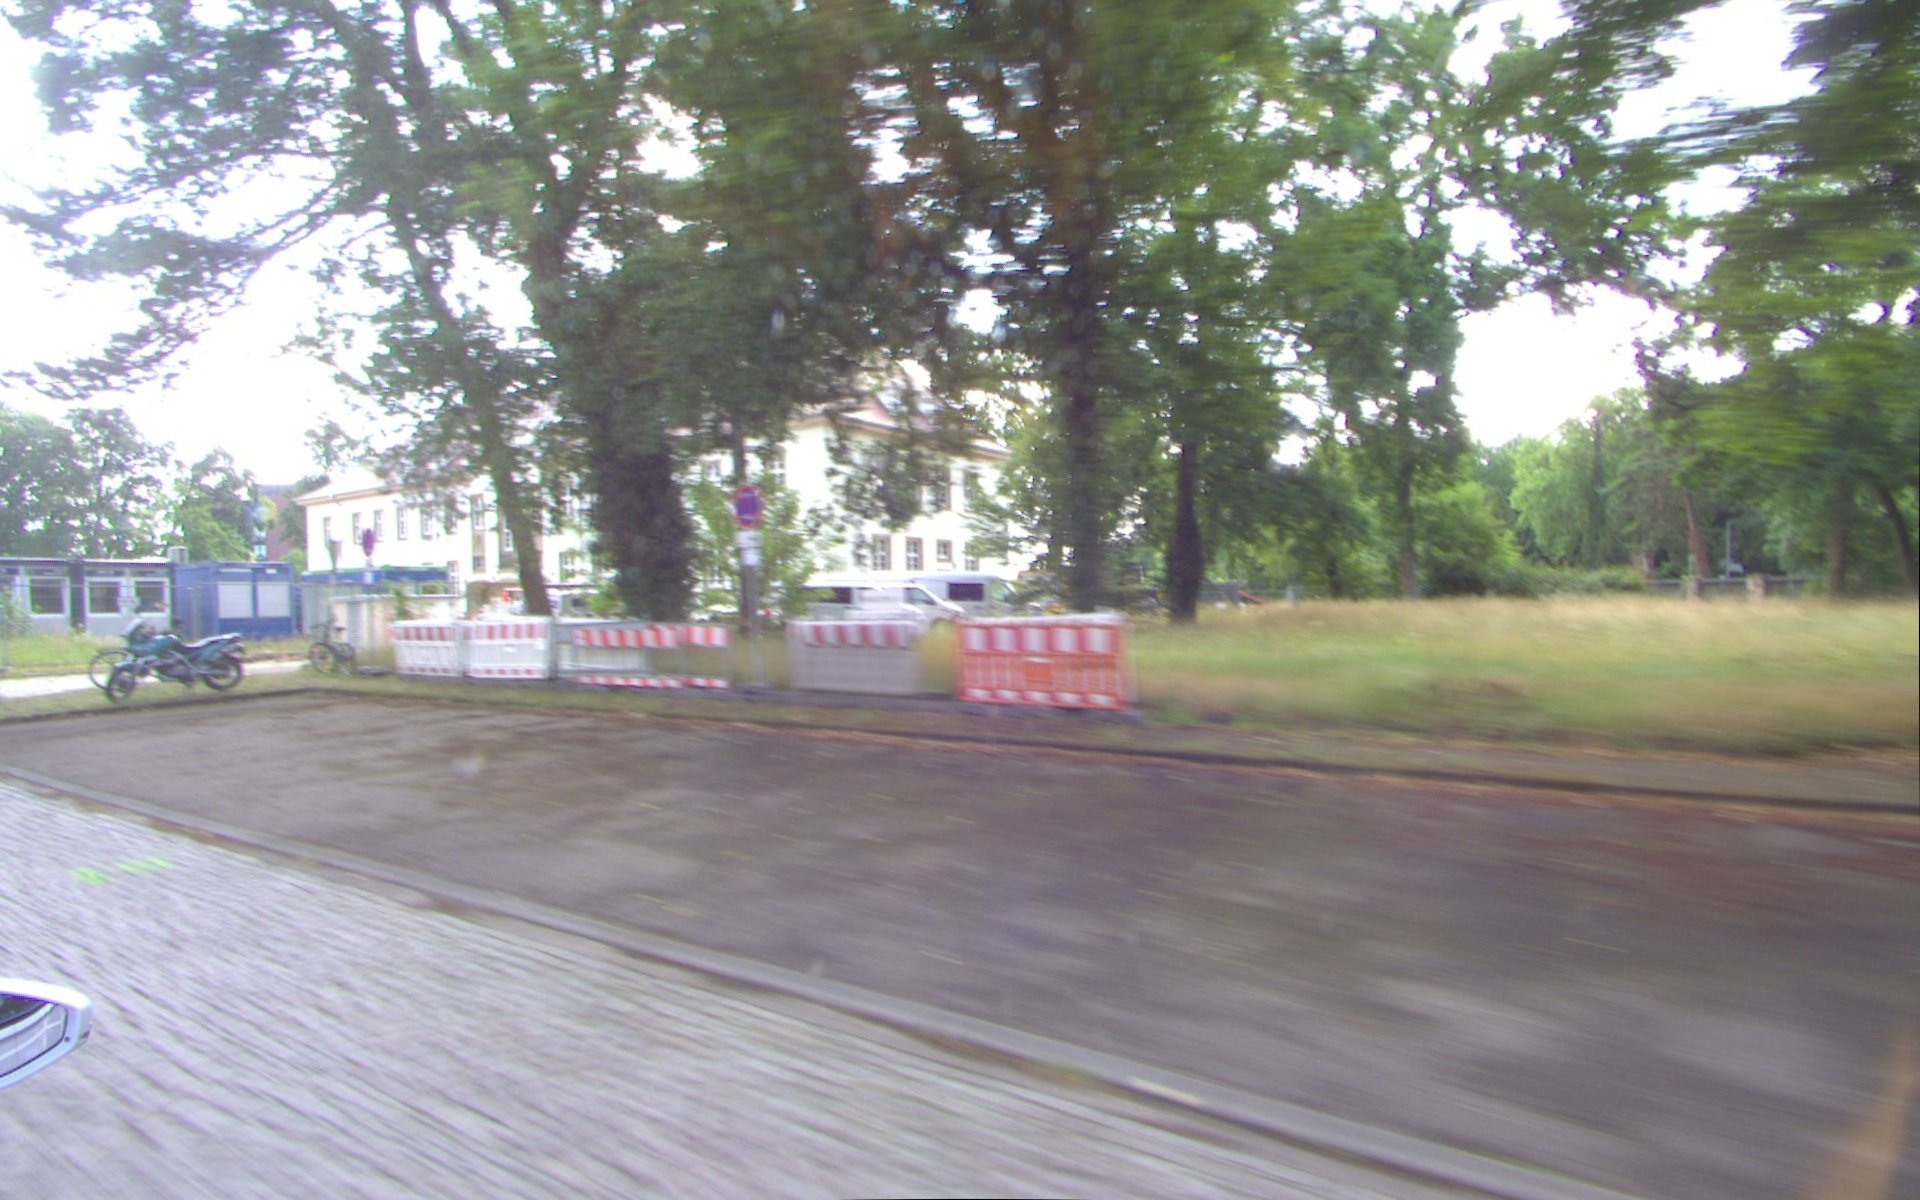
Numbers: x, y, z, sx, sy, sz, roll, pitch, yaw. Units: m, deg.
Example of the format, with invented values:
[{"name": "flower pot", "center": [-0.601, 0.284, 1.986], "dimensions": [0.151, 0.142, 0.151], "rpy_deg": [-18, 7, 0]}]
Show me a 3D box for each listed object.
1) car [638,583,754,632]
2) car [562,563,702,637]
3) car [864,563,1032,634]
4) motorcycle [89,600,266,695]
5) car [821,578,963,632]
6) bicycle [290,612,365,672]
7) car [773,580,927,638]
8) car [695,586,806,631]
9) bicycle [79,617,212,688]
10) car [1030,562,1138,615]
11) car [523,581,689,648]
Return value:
[{"name": "car", "center": [-10.784, 0.347, 40.759], "dimensions": [4.811, 1.848, 1.987], "rpy_deg": [-1, -1, 36]}, {"name": "car", "center": [-12.459, 0.074, 37.839], "dimensions": [5.831, 2.589, 1.988], "rpy_deg": [-1, -1, 36]}, {"name": "car", "center": [-0.389, -0.034, 38.475], "dimensions": [6.297, 2.611, 2.000], "rpy_deg": [0, -1, 4]}, {"name": "motorcycle", "center": [-13.463, 0.772, 17.314], "dimensions": [0.745, 1.505, 2.274], "rpy_deg": [0, 1, 28]}, {"name": "car", "center": [-2.366, 0.221, 35.802], "dimensions": [4.780, 1.848, 2.000], "rpy_deg": [0, -1, 7]}, {"name": "bicycle", "center": [-13.178, 0.861, 20.846], "dimensions": [1.879, 1.185, 0.640], "rpy_deg": [0, 1, 36]}, {"name": "car", "center": [-3.611, 0.336, 33.384], "dimensions": [4.780, 1.848, 2.000], "rpy_deg": [0, -1, 7]}, {"name": "car", "center": [-9.106, 0.403, 43.389], "dimensions": [4.810, 1.848, 1.988], "rpy_deg": [-1, -1, 35]}, {"name": "bicycle", "center": [-15.272, 0.958, 18.846], "dimensions": [1.881, 1.213, 0.651], "rpy_deg": [-1, 1, -38]}, {"name": "car", "center": [5.547, -0.417, 43.988], "dimensions": [2.182, 2.122, 6.127], "rpy_deg": [-1, -1, 34]}, {"name": "car", "center": [-11.148, 0.400, 31.872], "dimensions": [1.880, 1.947, 4.845], "rpy_deg": [1, 1, 34]}]
